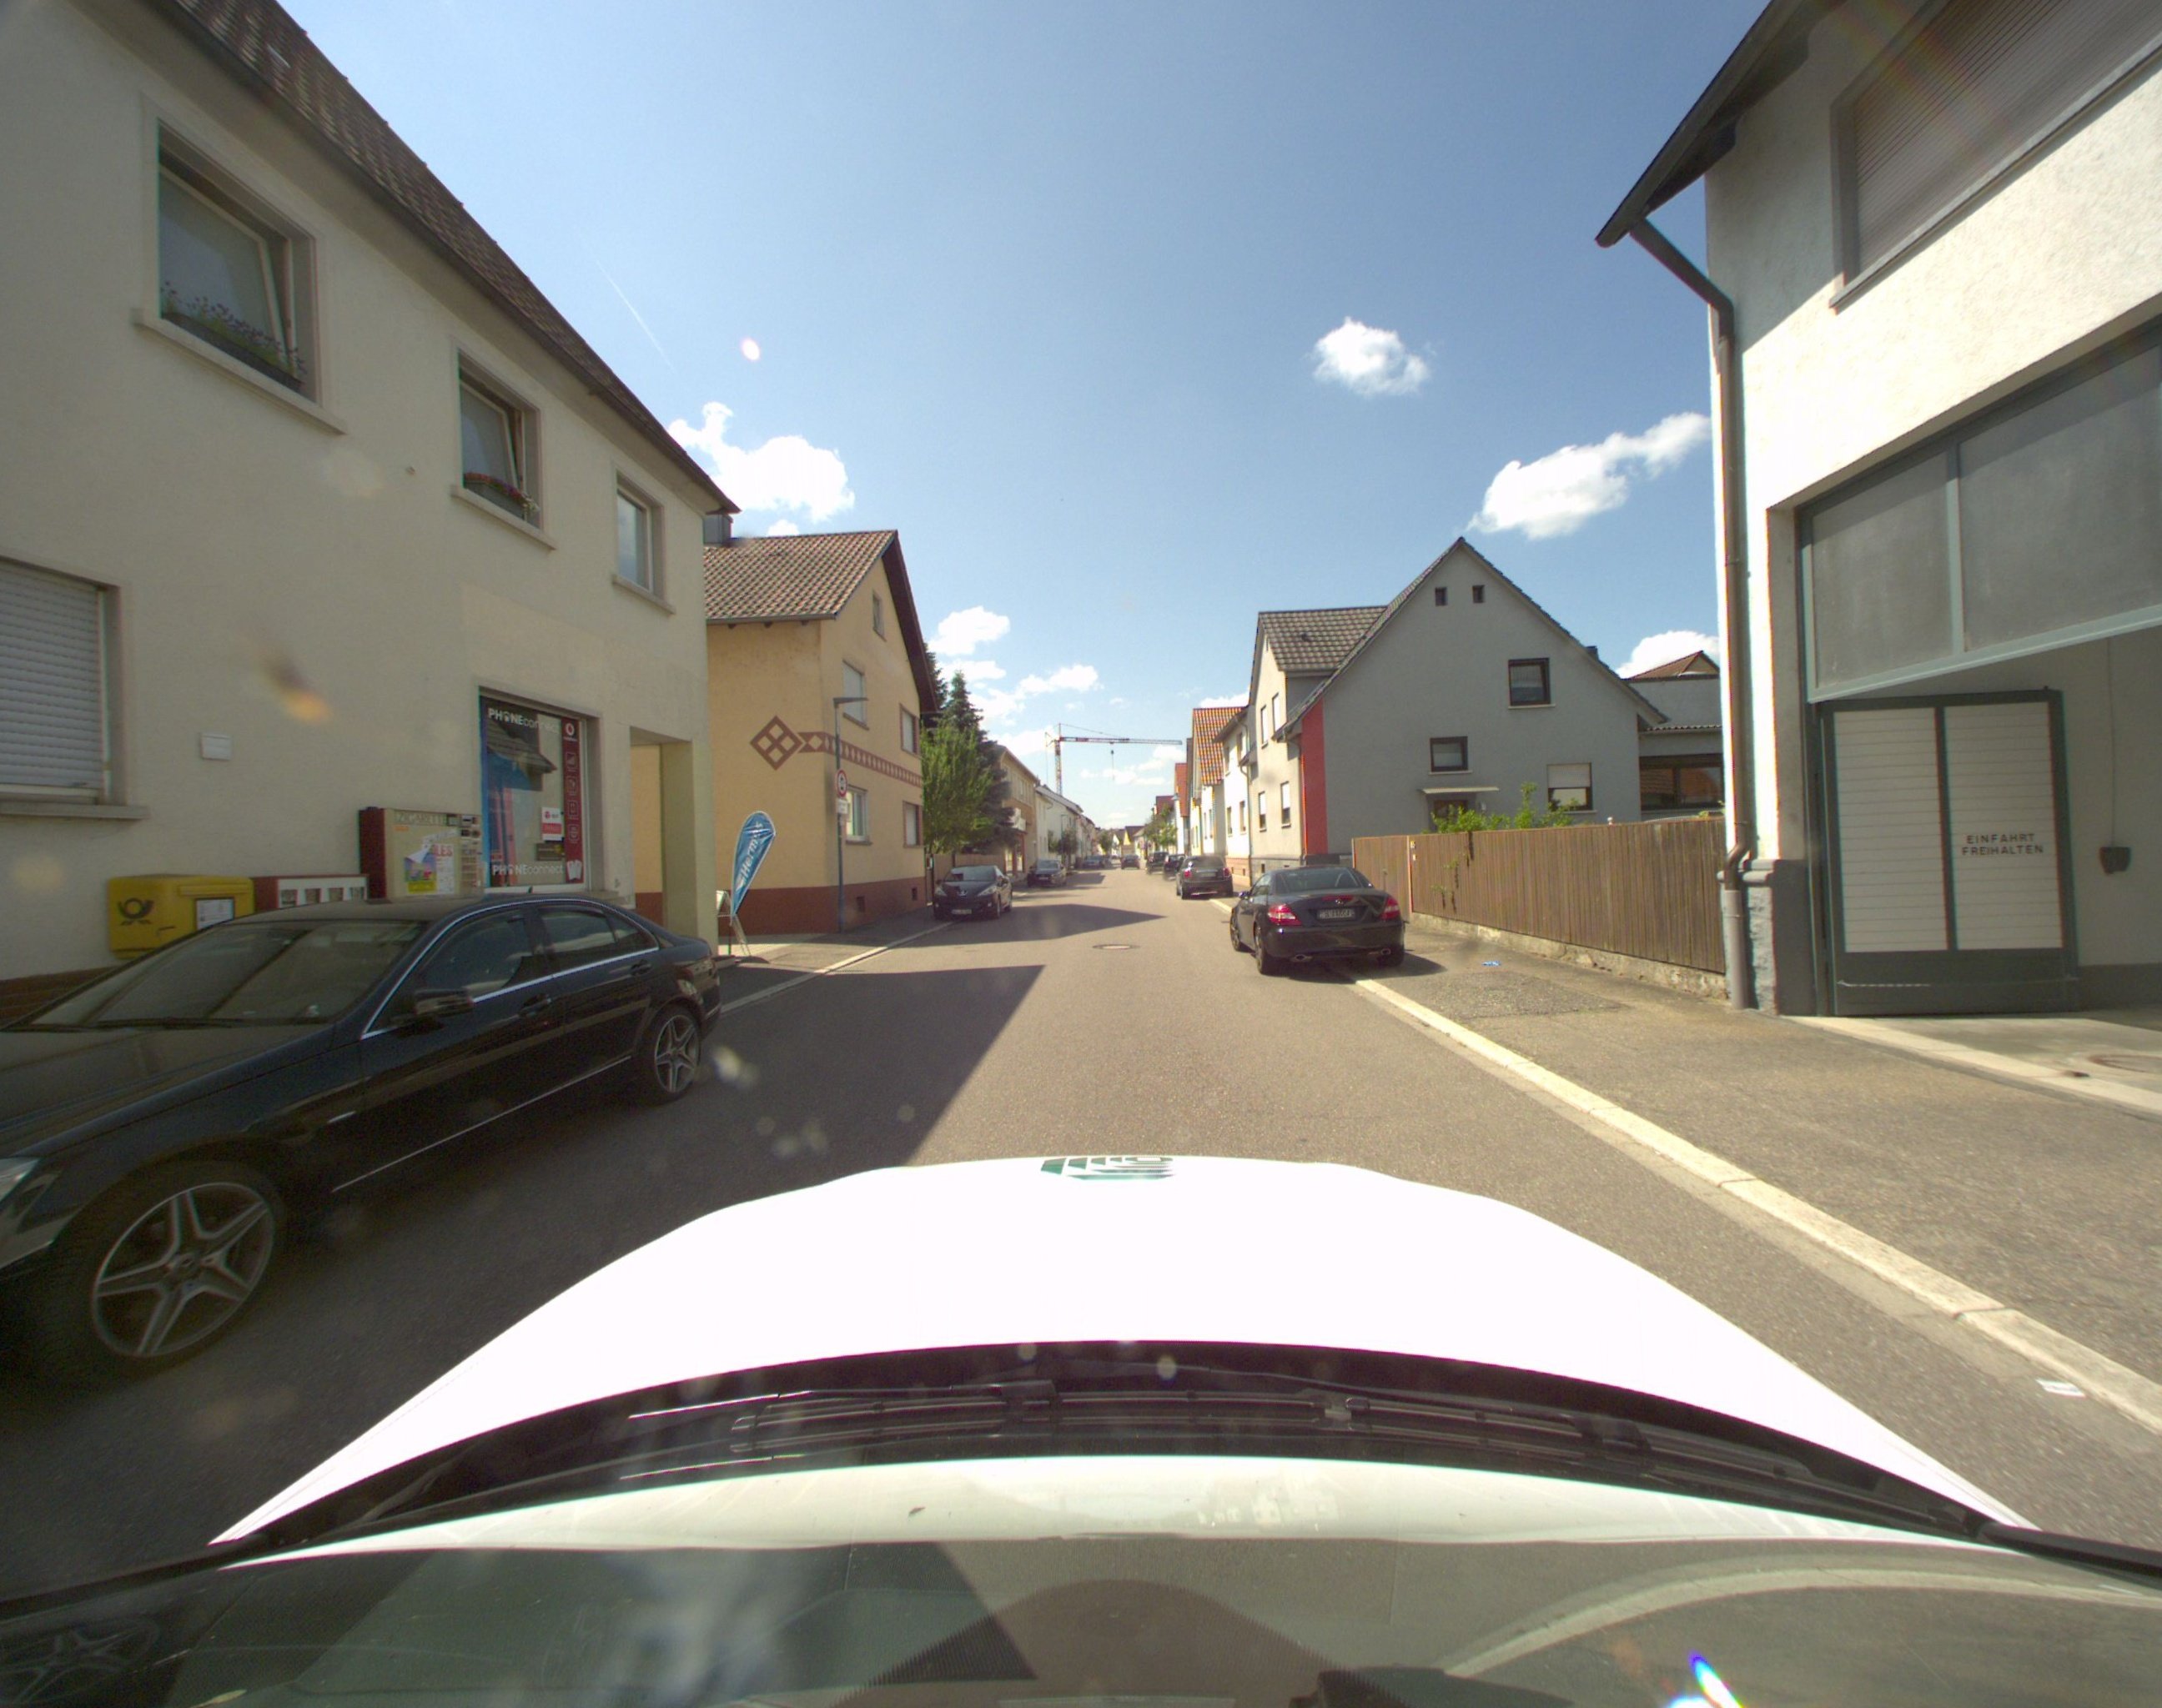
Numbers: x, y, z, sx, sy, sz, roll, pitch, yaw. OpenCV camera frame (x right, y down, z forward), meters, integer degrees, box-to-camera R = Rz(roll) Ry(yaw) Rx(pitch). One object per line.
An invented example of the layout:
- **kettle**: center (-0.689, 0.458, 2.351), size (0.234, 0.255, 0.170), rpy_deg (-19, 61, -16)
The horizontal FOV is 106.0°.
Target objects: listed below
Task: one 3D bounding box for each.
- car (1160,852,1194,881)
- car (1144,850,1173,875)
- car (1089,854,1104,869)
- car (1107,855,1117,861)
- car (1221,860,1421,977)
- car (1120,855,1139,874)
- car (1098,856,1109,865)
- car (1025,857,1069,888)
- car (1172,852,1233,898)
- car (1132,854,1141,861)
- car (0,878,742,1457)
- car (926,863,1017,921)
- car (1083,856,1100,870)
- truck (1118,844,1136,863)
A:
- **car**: center (5.547, 0.696, 47.543), size (1.610, 1.495, 3.974), rpy_deg (-5, 0, 3)
- **car**: center (5.709, 0.616, 60.331), size (1.722, 1.717, 4.276), rpy_deg (-2, 0, 1)
- **car**: center (1.937, 0.896, 99.276), size (1.647, 1.609, 4.063), rpy_deg (-2, 0, 3)
- **car**: center (9.711, 1.352, 254.957), size (1.823, 1.753, 4.210), rpy_deg (-3, -1, -13)
- **car**: center (3.133, 0.769, 11.510), size (1.808, 1.276, 4.151), rpy_deg (-2, 0, 4)
- **car**: center (4.925, 1.036, 82.941), size (1.776, 1.753, 4.002), rpy_deg (-3, -1, 2)
- **car**: center (3.851, 1.132, 138.624), size (1.715, 1.555, 4.176), rpy_deg (-1, 0, 4)
- **car**: center (-1.752, 0.941, 43.208), size (1.760, 1.460, 4.442), rpy_deg (-2, 0, 5)
- **car**: center (4.130, 0.692, 28.110), size (1.681, 1.422, 3.660), rpy_deg (-2, 0, 3)
- **car**: center (13.487, 0.860, 198.196), size (1.776, 1.564, 4.338), rpy_deg (-3, -1, 1)
- **car**: center (-3.610, 0.915, 4.121), size (1.690, 1.411, 4.394), rpy_deg (-2, 0, 3)
- **car**: center (-2.894, 0.969, 22.366), size (1.754, 1.374, 4.069), rpy_deg (-1, 0, 3)
- **car**: center (1.201, 1.030, 92.536), size (1.751, 1.525, 4.292), rpy_deg (-2, 0, 3)
- **truck**: center (9.979, 0.015, 178.092), size (3.366, 3.865, 13.931), rpy_deg (-3, -1, 2)
